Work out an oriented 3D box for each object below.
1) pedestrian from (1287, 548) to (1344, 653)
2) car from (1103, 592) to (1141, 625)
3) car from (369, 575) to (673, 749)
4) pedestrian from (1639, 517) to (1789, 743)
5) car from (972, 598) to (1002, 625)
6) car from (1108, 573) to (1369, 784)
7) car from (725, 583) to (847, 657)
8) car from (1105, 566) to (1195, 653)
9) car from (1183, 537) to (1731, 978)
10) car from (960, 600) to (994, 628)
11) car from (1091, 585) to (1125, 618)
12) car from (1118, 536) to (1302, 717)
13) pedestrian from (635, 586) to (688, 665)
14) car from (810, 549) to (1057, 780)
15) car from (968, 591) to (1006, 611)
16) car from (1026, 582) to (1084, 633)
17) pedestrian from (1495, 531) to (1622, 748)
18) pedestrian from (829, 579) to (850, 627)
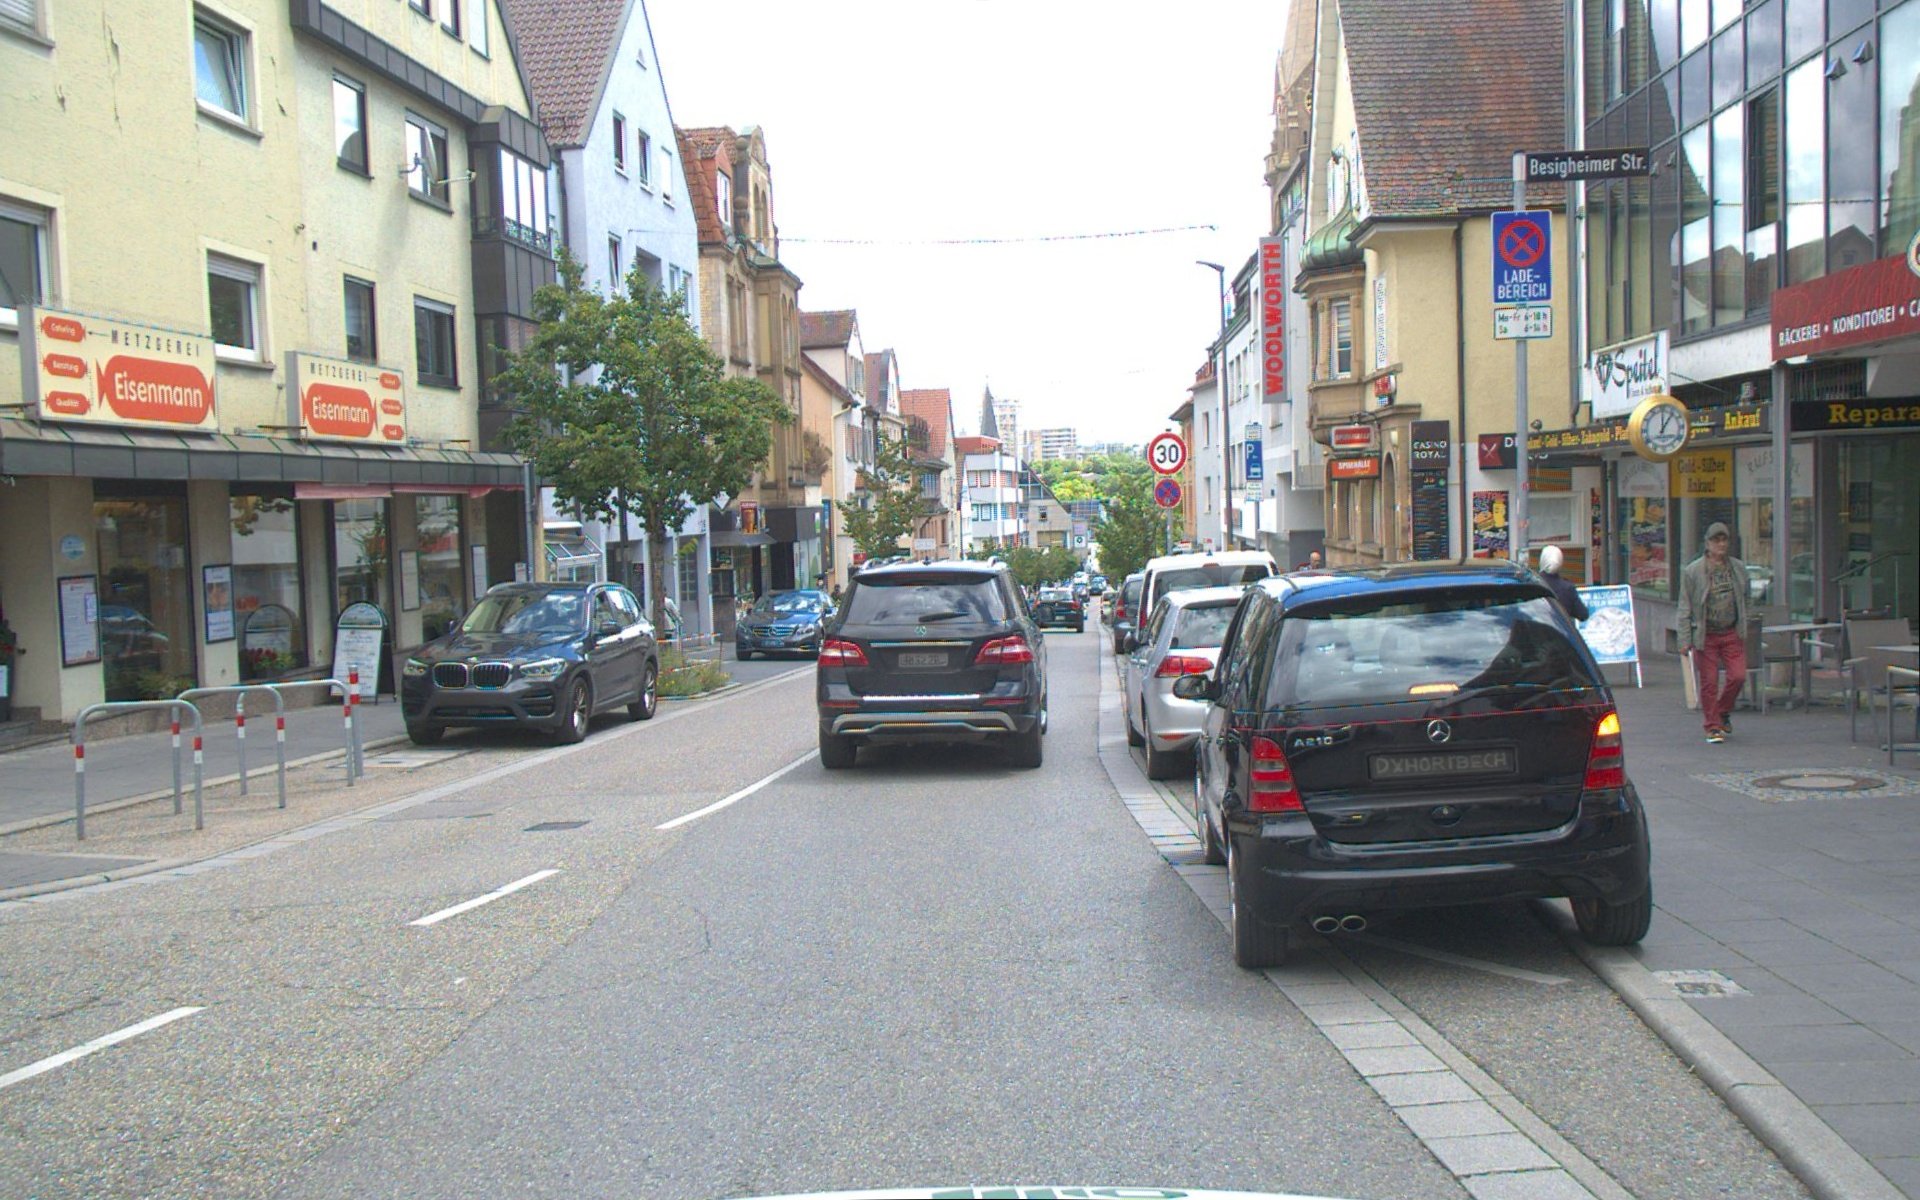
[{"bbox_3d":[6.178,0.002,28.762,0.779,1.757,1.053,-2,0,5],"label":"pedestrian"},{"bbox_3d":[8.369,0.410,85.610,1.712,1.490,4.077,-5,0,4],"label":"car"},{"bbox_3d":[-4.864,0.596,19.093,1.964,1.723,4.610,0,1,4],"label":"car"},{"bbox_3d":[6.059,0.235,13.348,0.845,1.737,0.946,-2,0,11],"label":"pedestrian"},{"bbox_3d":[1.735,0.733,104.871,1.886,1.623,4.459,0,1,1],"label":"car"},{"bbox_3d":[2.243,0.564,14.255,1.667,1.493,4.001,-2,0,2],"label":"car"},{"bbox_3d":[-3.744,0.384,36.433,1.886,1.518,4.845,0,1,4],"label":"car"},{"bbox_3d":[3.983,0.171,35.035,1.711,1.635,3.803,-3,0,5],"label":"car"},{"bbox_3d":[2.098,0.572,8.113,1.765,1.582,3.956,-2,0,5],"label":"car"},{"bbox_3d":[1.013,0.799,97.511,1.886,1.523,4.263,0,1,2],"label":"car"},{"bbox_3d":[9.200,0.075,102.777,1.897,1.924,4.709,-4,0,4],"label":"car"},{"bbox_3d":[2.916,0.252,19.490,1.837,1.831,4.736,-1,1,8],"label":"car"},{"bbox_3d":[-5.747,0.481,31.843,0.808,1.489,0.810,0,0,4],"label":"pedestrian"},{"bbox_3d":[-0.155,0.498,15.164,1.903,1.770,4.179,-2,0,1],"label":"car"},{"bbox_3d":[2.841,0.110,172.789,3.905,1.780,2.000,-4,-1,1],"label":"car"},{"bbox_3d":[3.101,0.225,53.446,1.748,1.567,3.747,-1,0,5],"label":"car"},{"bbox_3d":[4.851,0.311,13.461,0.806,1.695,0.802,-2,0,11],"label":"pedestrian"},{"bbox_3d":[-3.742,0.091,51.387,0.480,1.489,0.559,0,0,14],"label":"pedestrian"}]
